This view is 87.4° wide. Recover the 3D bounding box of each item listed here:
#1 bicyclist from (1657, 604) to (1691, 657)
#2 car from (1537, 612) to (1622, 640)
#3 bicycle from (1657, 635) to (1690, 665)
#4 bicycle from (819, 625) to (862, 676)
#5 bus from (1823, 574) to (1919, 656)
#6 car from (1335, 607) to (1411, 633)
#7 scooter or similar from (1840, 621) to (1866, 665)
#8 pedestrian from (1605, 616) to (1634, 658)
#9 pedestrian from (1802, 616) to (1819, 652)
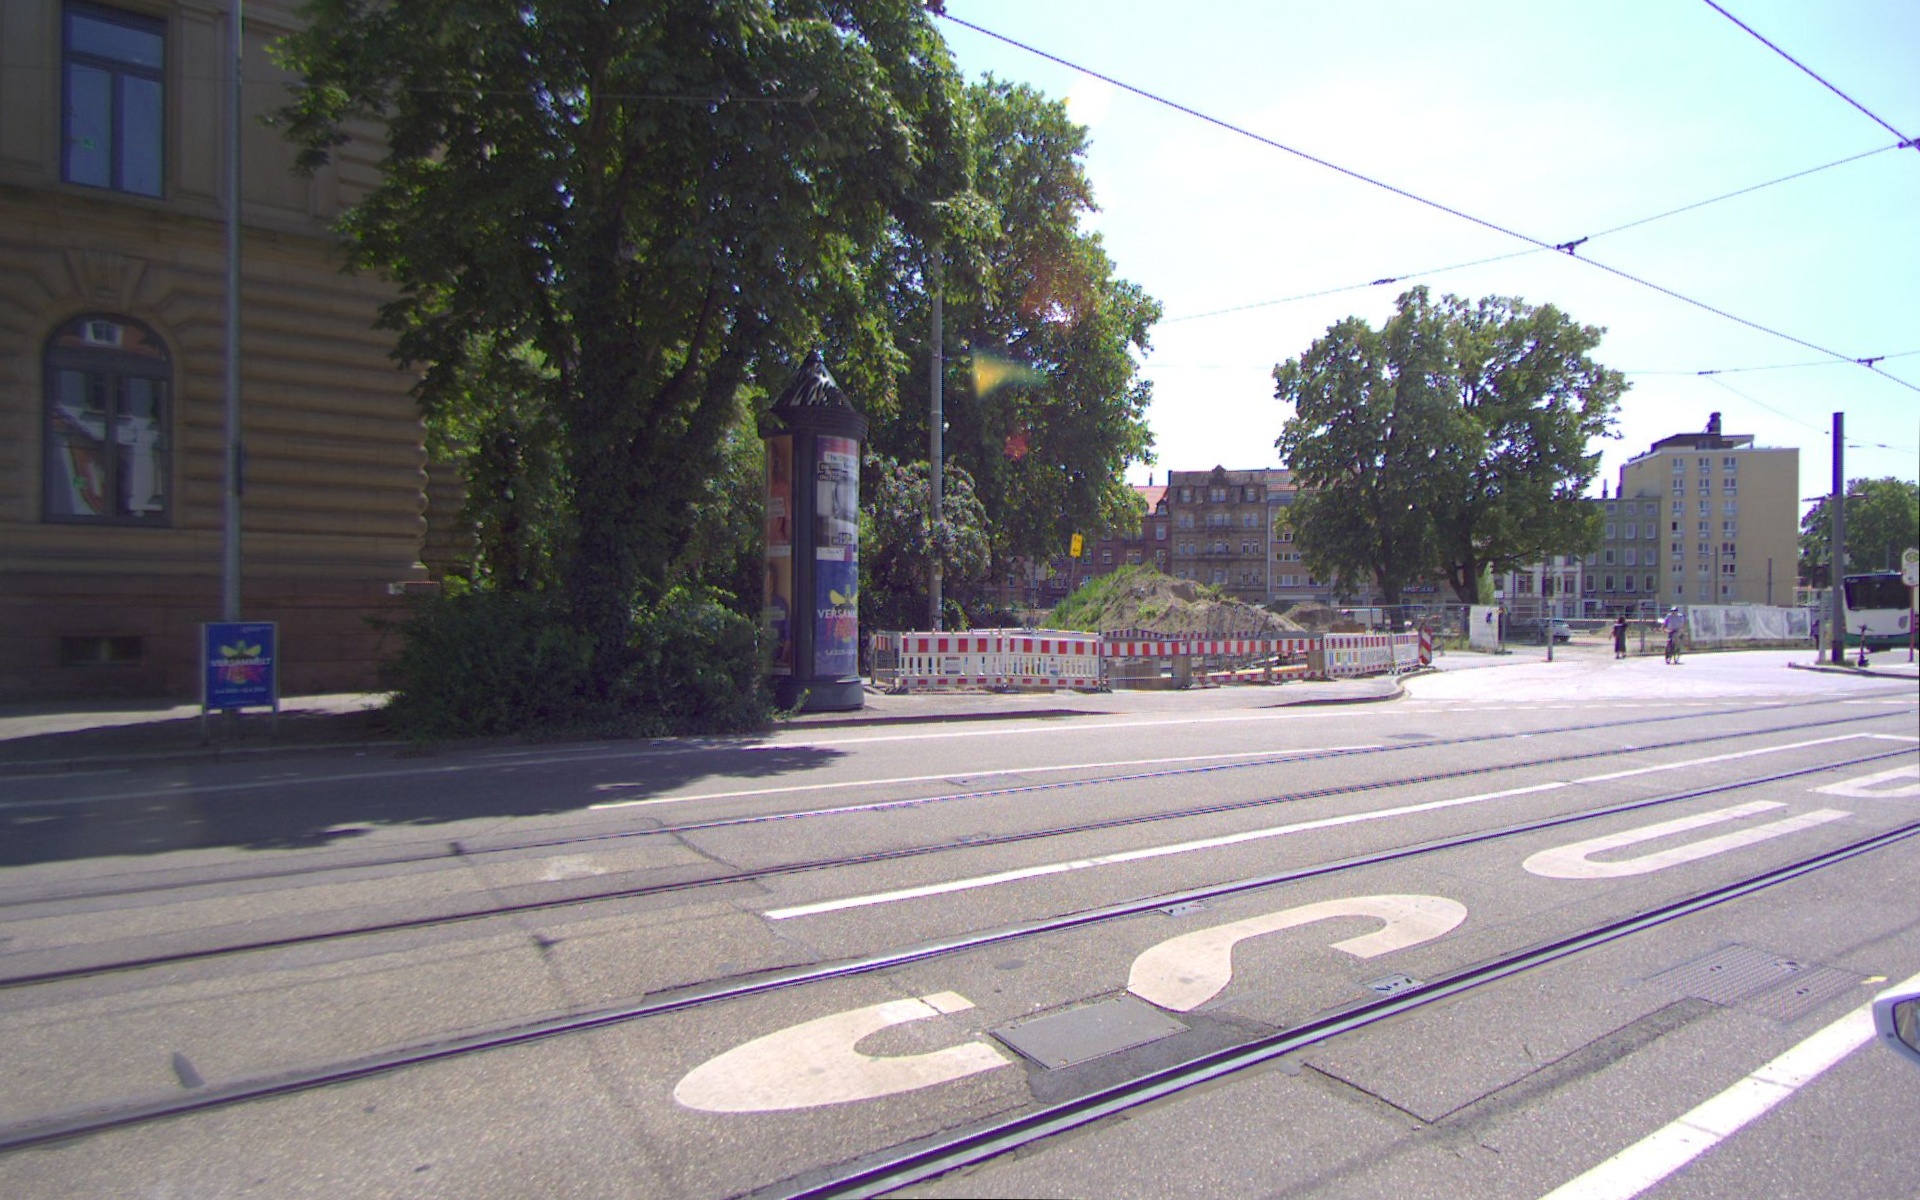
[{"bbox_3d":[23.815,1.020,33.510,0.765,1.732,0.813,1,-1,-44],"label":"bicyclist"},{"bbox_3d":[37.650,1.550,61.143,1.823,1.671,4.177,0,-1,-20],"label":"car"},{"bbox_3d":[23.827,1.650,33.526,2.354,0.926,0.498,1,-1,-44],"label":"bicycle"},{"bbox_3d":[-2.763,1.139,23.125,0.497,1.117,1.728,0,-1,-24],"label":"bicycle"},{"bbox_3d":[43.847,0.682,44.965,17.302,3.200,2.994,1,-1,-32],"label":"bus"},{"bbox_3d":[30.706,1.495,74.663,4.950,1.909,2.113,0,-1,-13],"label":"car"},{"bbox_3d":[25.566,1.225,28.745,1.237,1.222,0.316,1,-1,-37],"label":"scooter or similar"},{"bbox_3d":[25.558,1.418,38.919,0.814,1.623,0.604,0,0,-22],"label":"pedestrian"},{"bbox_3d":[41.029,1.654,48.468,0.394,1.728,0.561,0,0,-39],"label":"pedestrian"}]
